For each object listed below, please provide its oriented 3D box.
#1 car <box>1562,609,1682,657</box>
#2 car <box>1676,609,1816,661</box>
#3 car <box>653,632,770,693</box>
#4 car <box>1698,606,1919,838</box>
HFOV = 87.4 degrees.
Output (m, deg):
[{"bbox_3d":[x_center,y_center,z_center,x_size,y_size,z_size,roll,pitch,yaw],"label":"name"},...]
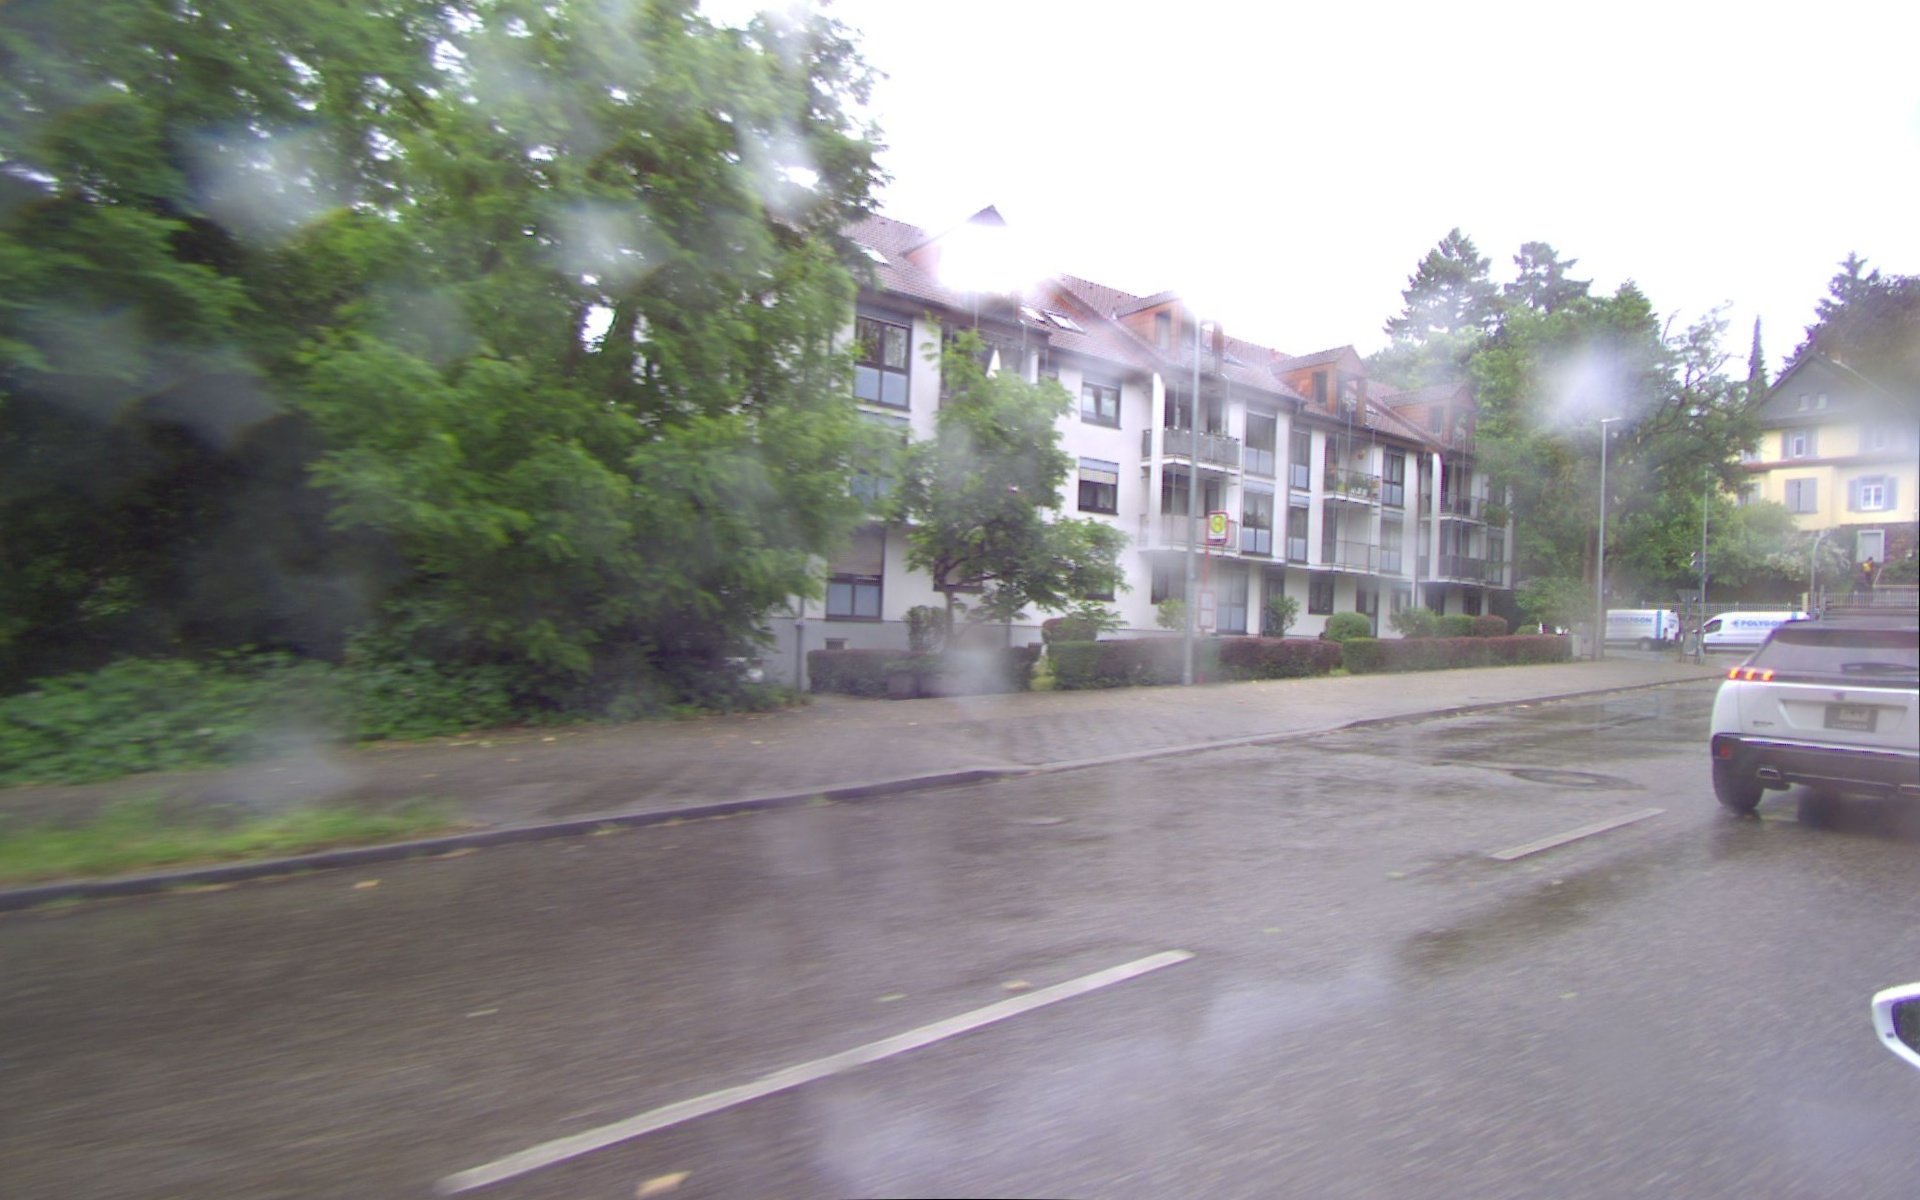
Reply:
[{"bbox_3d":[39.950,1.979,60.776,2.294,2.527,5.524,3,0,-35],"label":"car"},{"bbox_3d":[43.434,1.892,55.656,2.293,2.527,5.622,3,0,-35],"label":"car"},{"bbox_3d":[-6.661,1.705,26.763,1.710,1.505,3.523,4,-6,-39],"label":"car"},{"bbox_3d":[7.950,0.886,8.419,4.328,1.556,1.739,2,-1,-38],"label":"car"}]
